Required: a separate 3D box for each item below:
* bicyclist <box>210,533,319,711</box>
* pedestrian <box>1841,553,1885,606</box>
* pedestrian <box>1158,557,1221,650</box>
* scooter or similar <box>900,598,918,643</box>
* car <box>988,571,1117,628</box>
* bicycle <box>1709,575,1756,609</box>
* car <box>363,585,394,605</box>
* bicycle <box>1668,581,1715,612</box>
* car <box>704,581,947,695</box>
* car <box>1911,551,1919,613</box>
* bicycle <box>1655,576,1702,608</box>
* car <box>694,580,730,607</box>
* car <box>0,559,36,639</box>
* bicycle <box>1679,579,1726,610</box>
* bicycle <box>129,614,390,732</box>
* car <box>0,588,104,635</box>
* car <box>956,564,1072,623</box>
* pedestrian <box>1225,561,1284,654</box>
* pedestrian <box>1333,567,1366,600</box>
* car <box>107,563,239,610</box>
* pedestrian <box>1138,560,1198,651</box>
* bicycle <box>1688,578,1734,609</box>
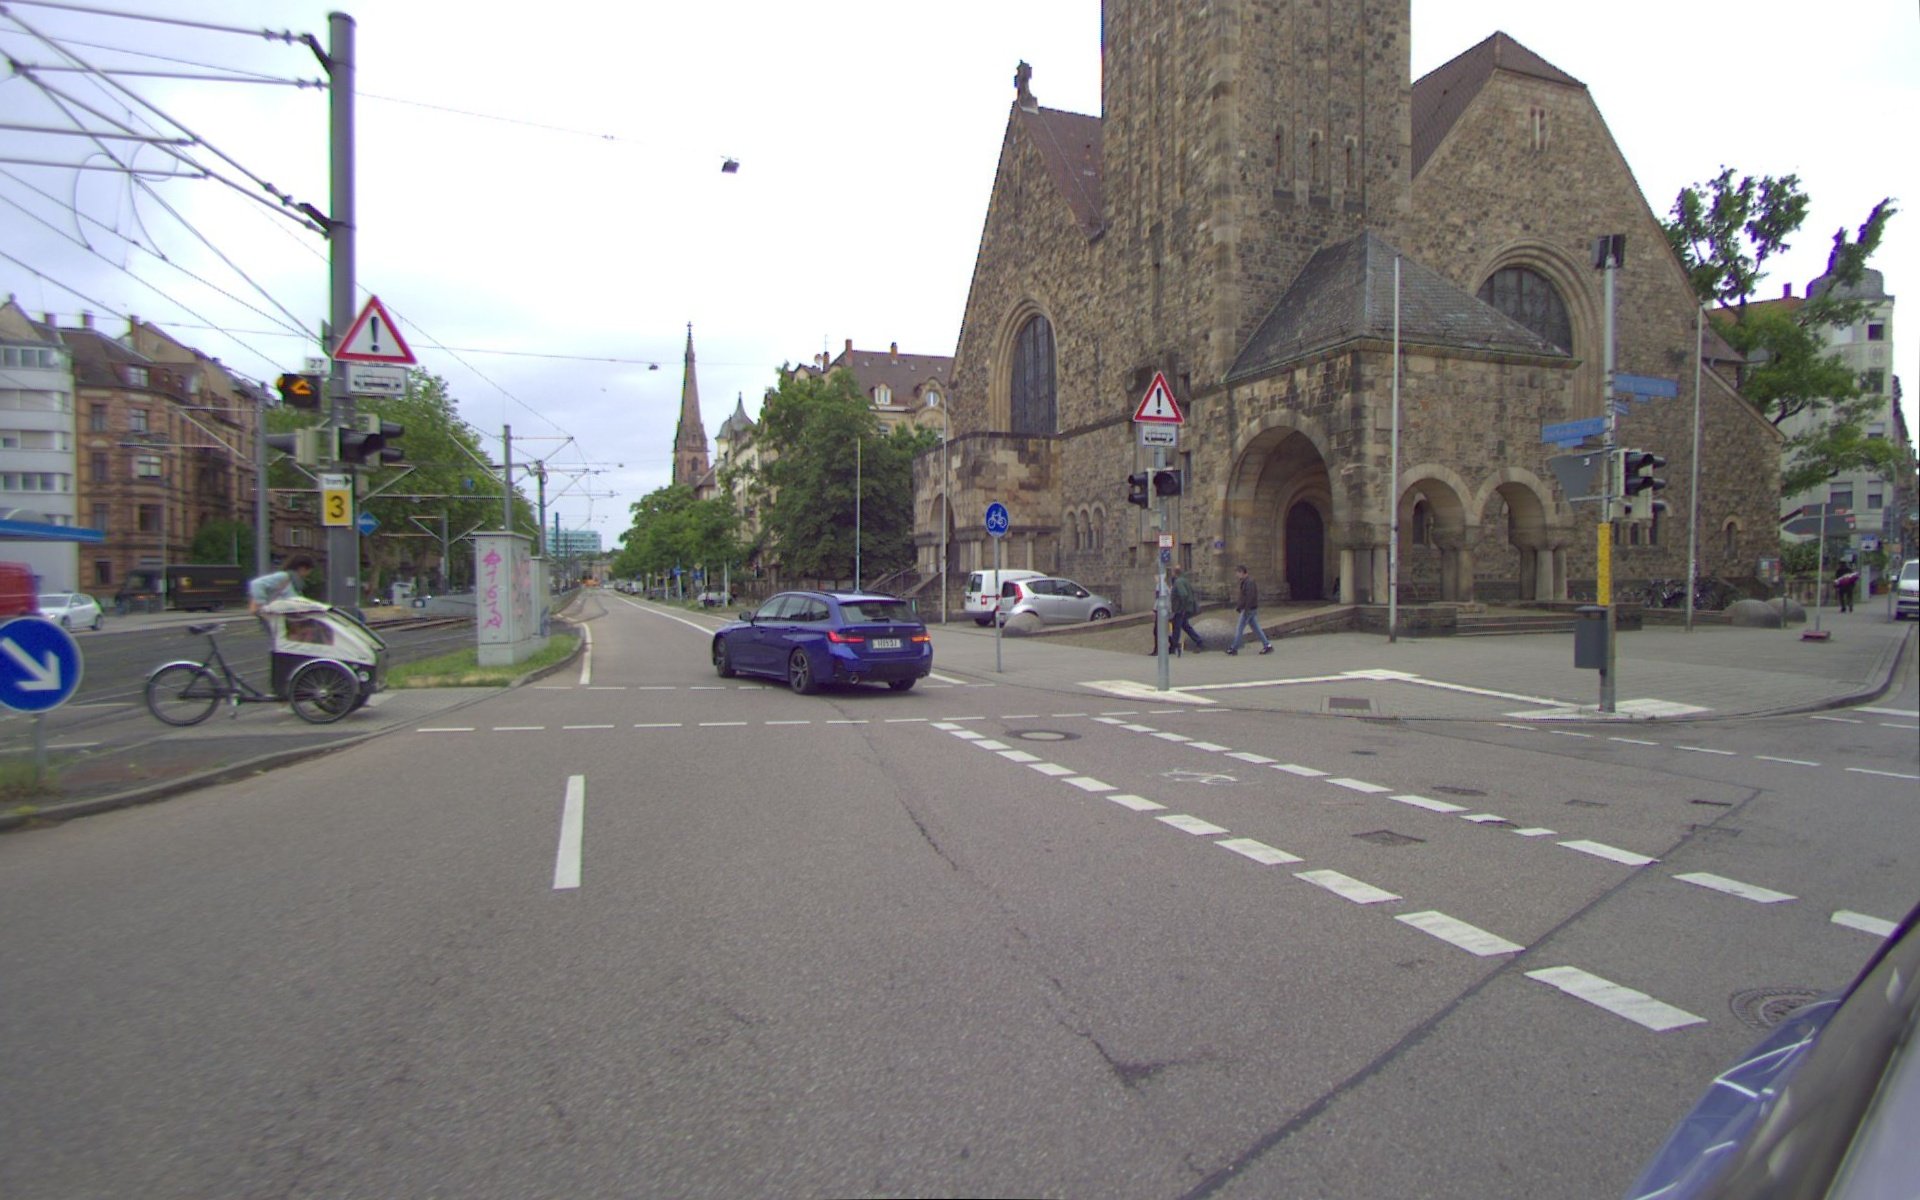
[{"bbox_3d":[-6.817,0.195,9.953,0.738,1.674,0.617,-1,1,-23],"label":"bicyclist"},{"bbox_3d":[32.213,-0.748,36.115,0.999,1.831,0.818,-3,2,-23],"label":"pedestrian"},{"bbox_3d":[4.572,0.042,20.166,0.953,1.780,0.805,-1,3,-44],"label":"pedestrian"},{"bbox_3d":[-1.257,0.505,24.949,0.235,1.066,0.775,-1,1,-19],"label":"scooter or similar"},{"bbox_3d":[2.720,-0.050,29.927,3.394,1.549,1.622,-1,2,-18],"label":"car"},{"bbox_3d":[27.545,-0.296,36.109,0.304,1.161,1.346,-1,1,-22],"label":"bicycle"},{"bbox_3d":[-47.857,-0.426,83.282,1.652,1.549,3.475,-1,2,-21],"label":"car"},{"bbox_3d":[25.569,-0.141,35.387,0.304,1.073,1.386,-1,1,-22],"label":"bicycle"},{"bbox_3d":[-2.165,0.443,15.190,1.787,1.423,4.319,-1,2,-36],"label":"car"},{"bbox_3d":[32.114,-0.608,32.822,1.805,1.943,5.083,1,2,44],"label":"car"},{"bbox_3d":[24.947,-0.285,35.144,0.304,1.073,1.386,-1,1,-22],"label":"bicycle"},{"bbox_3d":[-14.854,-0.423,60.536,1.652,1.549,3.475,-1,2,-21],"label":"car"},{"bbox_3d":[-31.499,0.008,31.595,1.951,2.570,5.623,-1,2,-21],"label":"car"},{"bbox_3d":[26.161,-0.205,35.664,0.304,1.073,1.386,-1,1,-22],"label":"bicycle"},{"bbox_3d":[-6.793,0.682,9.930,2.018,1.008,0.554,-1,1,-22],"label":"bicycle"},{"bbox_3d":[-33.963,0.377,37.838,1.652,1.549,4.159,-1,2,-21],"label":"car"},{"bbox_3d":[1.751,-0.239,33.123,3.394,1.815,1.691,-1,1,-18],"label":"car"},{"bbox_3d":[5.638,0.119,19.384,0.953,1.706,0.675,-1,3,-45],"label":"pedestrian"},{"bbox_3d":[11.353,-0.488,29.500,0.602,0.963,0.675,-1,1,-22],"label":"pedestrian"},{"bbox_3d":[-49.799,-0.928,64.331,2.209,2.762,7.094,-1,1,7],"label":"car"},{"bbox_3d":[4.033,0.084,19.602,0.951,1.693,0.634,-1,3,-38],"label":"pedestrian"},{"bbox_3d":[26.716,-0.247,36.025,0.304,1.073,1.346,-1,1,-22],"label":"bicycle"}]
